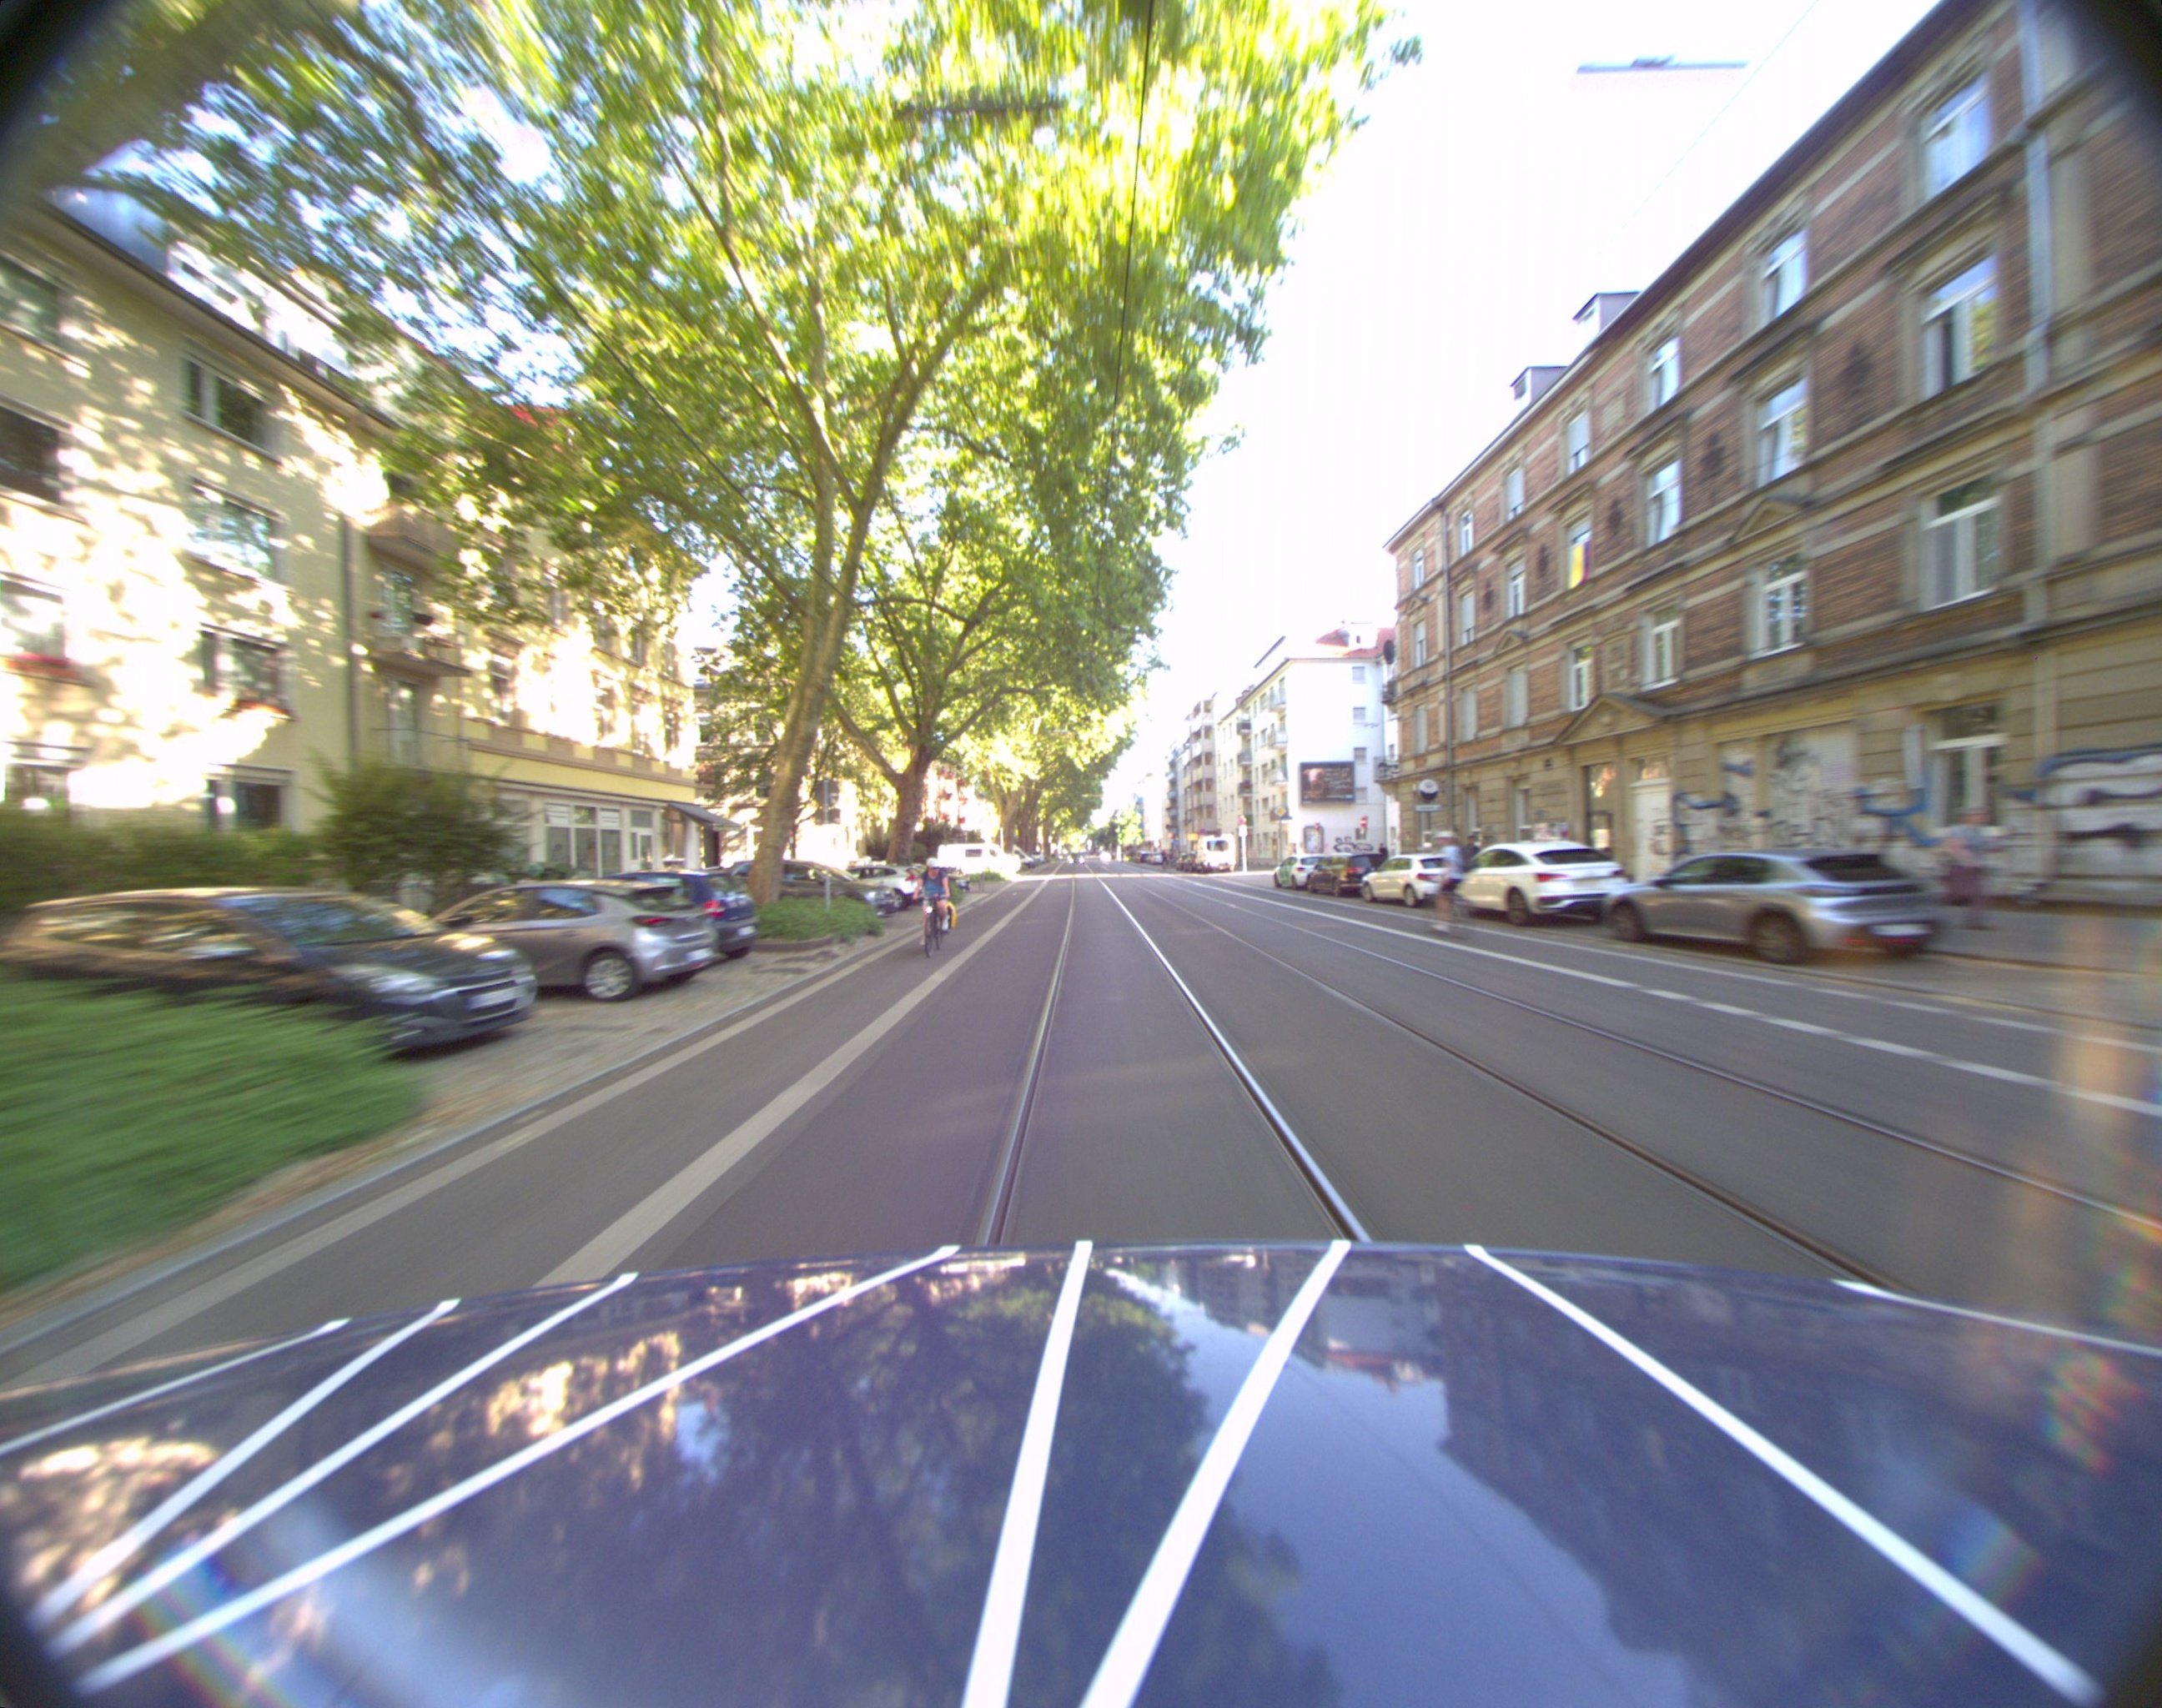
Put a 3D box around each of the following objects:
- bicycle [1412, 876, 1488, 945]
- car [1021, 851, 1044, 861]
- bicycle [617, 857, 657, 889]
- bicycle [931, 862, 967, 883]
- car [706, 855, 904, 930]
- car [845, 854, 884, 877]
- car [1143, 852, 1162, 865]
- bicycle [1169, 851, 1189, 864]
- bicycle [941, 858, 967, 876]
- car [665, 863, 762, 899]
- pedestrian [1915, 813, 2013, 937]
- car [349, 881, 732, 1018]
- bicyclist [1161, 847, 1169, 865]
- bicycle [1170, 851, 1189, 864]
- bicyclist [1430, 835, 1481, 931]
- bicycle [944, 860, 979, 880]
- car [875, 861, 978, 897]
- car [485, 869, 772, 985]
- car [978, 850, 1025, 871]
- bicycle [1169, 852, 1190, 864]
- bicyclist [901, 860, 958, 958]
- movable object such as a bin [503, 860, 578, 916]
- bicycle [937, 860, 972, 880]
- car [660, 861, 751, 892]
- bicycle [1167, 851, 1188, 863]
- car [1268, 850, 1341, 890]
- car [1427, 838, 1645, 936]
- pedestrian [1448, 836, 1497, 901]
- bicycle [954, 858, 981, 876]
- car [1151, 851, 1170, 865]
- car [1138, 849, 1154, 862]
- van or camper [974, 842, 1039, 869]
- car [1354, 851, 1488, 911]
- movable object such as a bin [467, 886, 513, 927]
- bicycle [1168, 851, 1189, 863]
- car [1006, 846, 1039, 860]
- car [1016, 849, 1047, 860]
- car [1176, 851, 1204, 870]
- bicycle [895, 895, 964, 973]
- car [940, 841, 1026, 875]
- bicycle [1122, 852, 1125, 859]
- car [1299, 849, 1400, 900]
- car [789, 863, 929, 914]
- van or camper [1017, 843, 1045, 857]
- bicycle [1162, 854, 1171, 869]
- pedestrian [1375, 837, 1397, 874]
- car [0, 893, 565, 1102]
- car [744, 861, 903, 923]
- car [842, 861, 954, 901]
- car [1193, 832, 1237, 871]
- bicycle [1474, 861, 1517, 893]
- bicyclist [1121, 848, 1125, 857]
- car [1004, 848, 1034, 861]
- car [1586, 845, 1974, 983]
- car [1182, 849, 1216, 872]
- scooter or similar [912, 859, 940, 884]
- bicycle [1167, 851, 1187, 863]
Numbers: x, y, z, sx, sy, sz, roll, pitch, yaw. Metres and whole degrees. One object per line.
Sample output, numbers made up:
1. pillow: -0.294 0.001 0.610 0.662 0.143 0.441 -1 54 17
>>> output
1. bicycle: 6.589 0.968 13.651 0.482 1.079 1.846 -1 1 1
2. car: -7.545 0.298 117.970 3.572 1.522 1.677 -1 1 -2
3. bicycle: -16.604 0.692 28.473 0.471 1.149 1.746 0 0 0
4. bicycle: -7.924 1.087 45.499 2.046 1.172 0.413 -2 2 8
5. car: -6.769 0.930 19.015 4.274 1.709 1.848 1 1 -2
6. car: -14.385 0.721 50.706 1.737 1.447 3.569 0 1 -4
7. car: 8.712 0.538 92.883 1.798 1.482 4.239 -1 1 -2
8. bicycle: 9.507 0.325 73.736 1.822 1.113 0.425 -3 1 6
9. bicycle: -8.712 0.885 52.236 2.043 1.172 0.414 -1 2 37
10. car: -18.793 1.359 38.957 3.996 1.590 1.853 -1 3 4
11. pedestrian: 12.342 0.281 10.645 0.663 1.656 0.770 -2 1 32
12. car: -6.617 1.128 9.604 3.604 1.509 1.693 0 1 0
13. bicyclist: 6.903 0.185 62.284 0.584 1.473 0.807 -1 1 -1
14. bicycle: 9.473 0.332 73.210 1.792 1.113 0.425 -3 1 6
15. bicyclist: 6.556 0.486 13.332 0.474 1.626 0.800 -1 1 1
16. bicycle: -7.320 1.002 46.619 2.046 1.172 0.413 -2 2 8
17. car: -6.865 1.105 33.932 4.104 1.483 1.832 -1 1 8
18. car: -7.075 1.116 12.135 3.604 1.590 1.540 -1 2 0
19. car: -7.035 0.566 67.557 3.966 1.646 1.795 -1 1 -3
20. bicycle: 9.332 0.421 71.883 1.897 1.032 0.402 -3 1 6
21. bicyclist: -2.567 0.909 12.975 0.615 1.543 0.935 -6 1 0
22. movable object such as a bin: -14.386 0.883 20.263 1.170 1.429 1.117 0 1 0
23. bicycle: -7.850 0.968 47.178 2.046 1.172 0.413 -2 2 8
24. car: -18.901 1.136 38.343 3.687 1.403 1.691 -2 -1 -4
25. bicycle: 9.538 0.310 74.910 1.965 1.113 0.440 -3 1 6
26. car: 9.329 0.616 32.024 1.745 1.483 4.044 -3 1 -1
27. car: 9.404 0.586 16.262 1.791 1.713 4.717 -3 1 0
28. pedestrian: 11.255 0.407 21.875 0.686 1.790 1.056 -3 1 -9
29. bicycle: -7.539 0.866 50.535 2.043 1.172 0.414 -1 2 37
30. car: 9.145 0.486 87.861 1.694 1.482 4.727 -1 1 0
31. car: 8.792 0.166 103.562 1.660 1.591 4.201 -3 1 -1
32. van or camper: -7.208 0.164 74.098 6.048 2.476 2.107 -1 1 -1
33. car: 9.403 0.680 21.406 1.704 1.412 3.998 -3 1 -4
34. movable object such as a bin: -14.243 1.262 18.322 0.749 0.938 0.465 0 1 0
35. bicycle: 9.508 0.317 74.423 1.972 1.113 0.425 -3 1 6
36. car: -7.554 -0.135 98.545 4.004 1.735 1.805 -1 0 0
37. car: -7.121 0.027 109.658 4.206 1.473 1.911 -1 1 1
38. car: 9.015 0.490 63.248 1.722 1.448 4.572 -2 1 1
39. bicycle: -2.513 1.291 12.919 0.596 0.998 2.511 -4 1 0
40. car: -7.112 0.281 55.584 6.006 2.269 2.006 -1 0 1
41. bicycle: 6.519 0.218 117.374 0.418 1.012 1.946 0 1 0
42. car: 9.342 0.652 26.877 1.745 1.553 4.785 -3 1 -1
43. car: -7.029 1.077 24.422 4.040 1.471 1.680 -1 1 -6
44. van or camper: -7.887 -0.646 120.882 4.389 2.098 1.837 -1 1 -4
45. bicycle: 6.963 0.585 62.092 0.422 1.144 2.231 -1 1 -1
46. pedestrian: 14.734 0.077 36.731 0.658 1.738 0.894 -3 -1 4
47. car: -6.973 1.147 6.683 3.680 1.515 1.693 0 1 0
48. car: -7.403 1.074 22.107 4.038 1.634 1.681 -1 1 -2
49. car: -7.484 1.096 31.314 4.105 1.483 1.682 -1 1 5
50. car: 9.151 -0.194 52.360 2.070 2.521 5.666 -2 1 1
51. bicycle: 14.389 0.769 26.405 0.373 1.028 1.848 -2 1 -3
52. bicyclist: 6.510 -0.190 117.122 0.510 1.386 0.709 0 1 -1
53. car: -7.870 0.090 96.478 3.618 1.486 1.660 -2 1 -2
54. car: 9.479 0.677 10.848 1.667 1.512 4.063 -3 1 -2
55. car: 8.894 0.446 57.548 1.723 1.622 4.345 -2 1 -2
56. scooter or similar: -7.662 0.866 37.618 1.309 1.248 0.341 -1 1 13
57. bicycle: 9.558 0.303 75.449 1.935 1.113 0.440 -3 1 6
